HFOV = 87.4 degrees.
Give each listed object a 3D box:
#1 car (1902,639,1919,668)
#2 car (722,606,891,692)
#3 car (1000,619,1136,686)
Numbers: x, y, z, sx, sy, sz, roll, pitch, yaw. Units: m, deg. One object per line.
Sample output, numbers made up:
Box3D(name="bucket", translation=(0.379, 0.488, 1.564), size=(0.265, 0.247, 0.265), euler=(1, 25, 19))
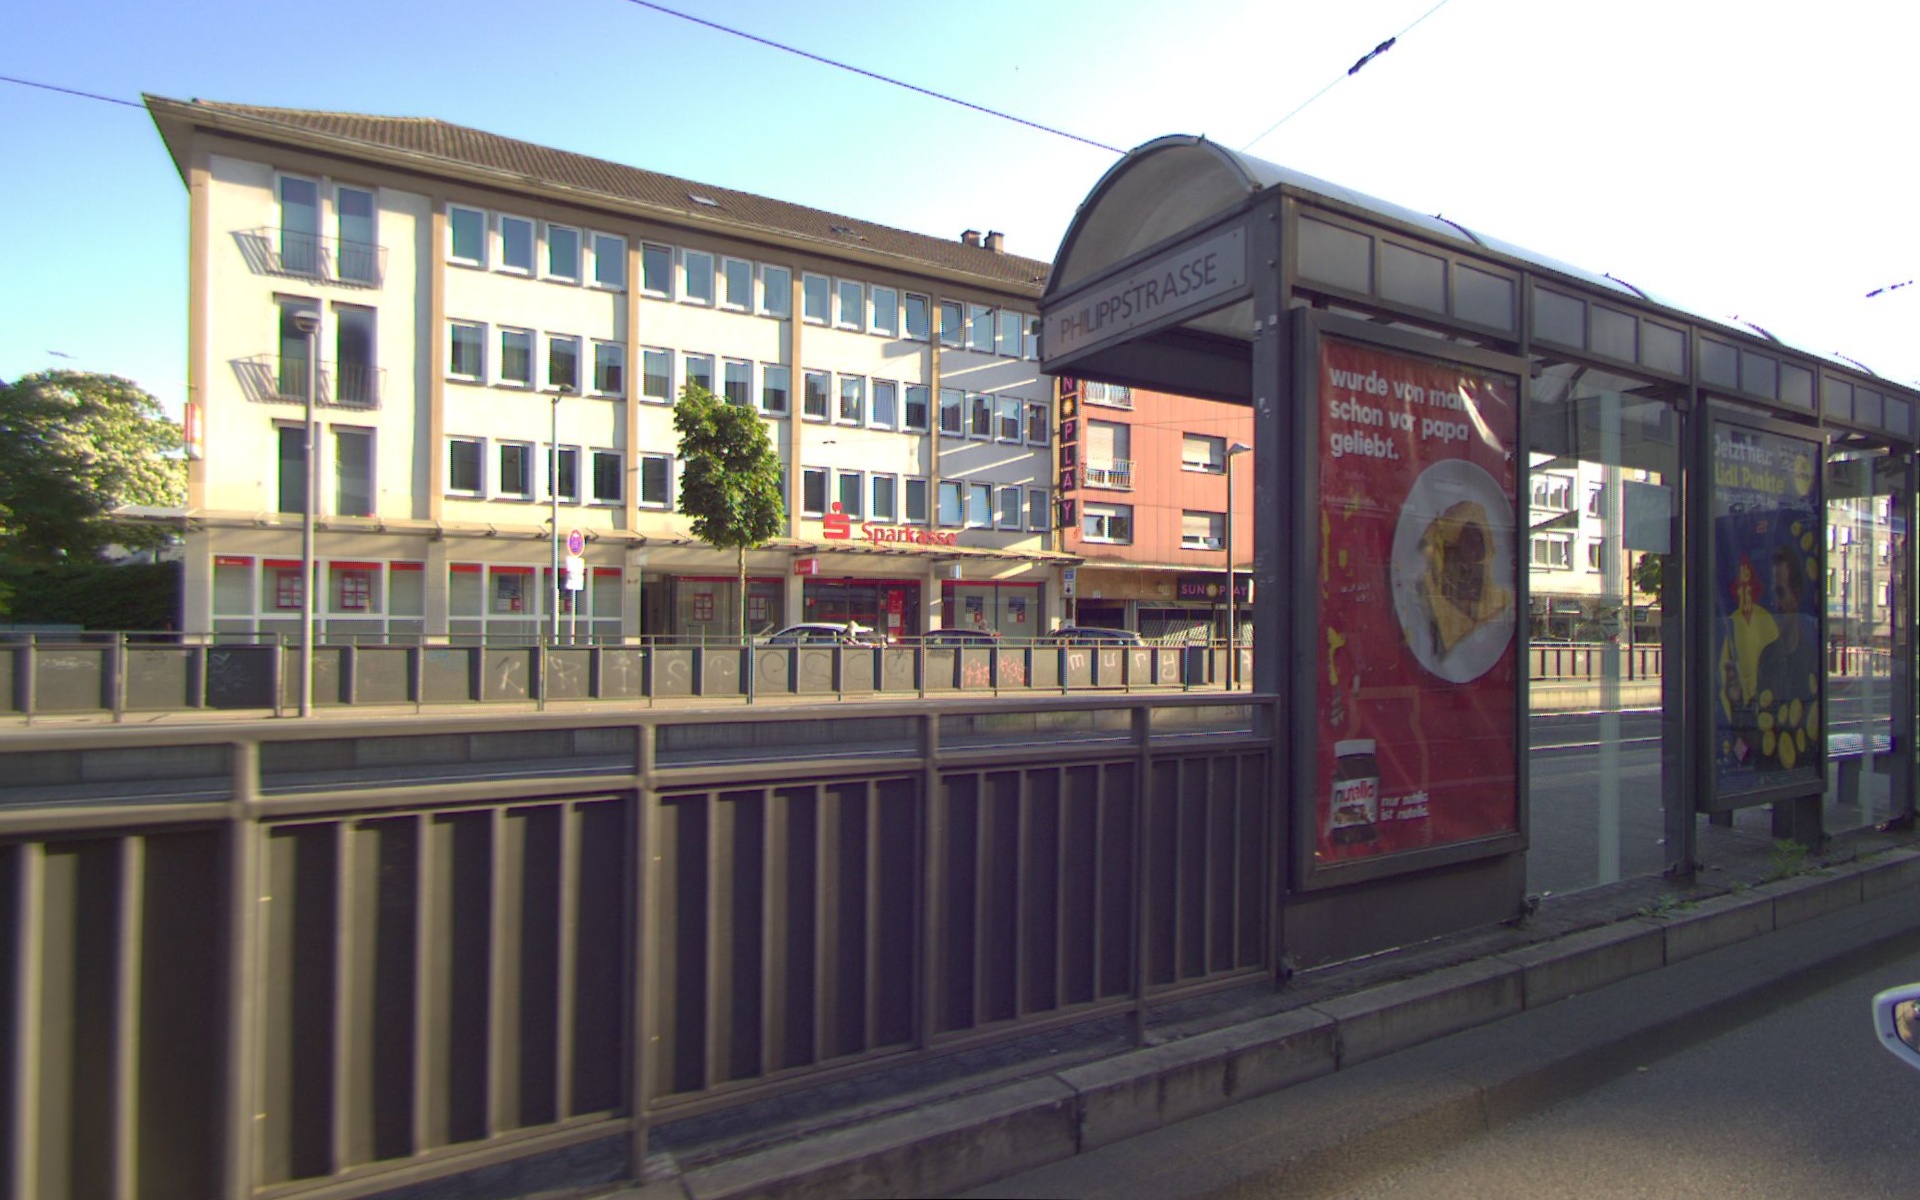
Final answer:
Box3D(name="car", translation=(56.942, 3.137, 58.527), size=(3.953, 1.672, 1.984), euler=(2, -2, -30))
Box3D(name="car", translation=(-3.594, 1.098, 23.579), size=(3.442, 1.702, 1.771), euler=(3, 1, 21))
Box3D(name="car", translation=(2.973, 1.393, 27.333), size=(3.440, 1.702, 1.772), euler=(0, -1, 15))
